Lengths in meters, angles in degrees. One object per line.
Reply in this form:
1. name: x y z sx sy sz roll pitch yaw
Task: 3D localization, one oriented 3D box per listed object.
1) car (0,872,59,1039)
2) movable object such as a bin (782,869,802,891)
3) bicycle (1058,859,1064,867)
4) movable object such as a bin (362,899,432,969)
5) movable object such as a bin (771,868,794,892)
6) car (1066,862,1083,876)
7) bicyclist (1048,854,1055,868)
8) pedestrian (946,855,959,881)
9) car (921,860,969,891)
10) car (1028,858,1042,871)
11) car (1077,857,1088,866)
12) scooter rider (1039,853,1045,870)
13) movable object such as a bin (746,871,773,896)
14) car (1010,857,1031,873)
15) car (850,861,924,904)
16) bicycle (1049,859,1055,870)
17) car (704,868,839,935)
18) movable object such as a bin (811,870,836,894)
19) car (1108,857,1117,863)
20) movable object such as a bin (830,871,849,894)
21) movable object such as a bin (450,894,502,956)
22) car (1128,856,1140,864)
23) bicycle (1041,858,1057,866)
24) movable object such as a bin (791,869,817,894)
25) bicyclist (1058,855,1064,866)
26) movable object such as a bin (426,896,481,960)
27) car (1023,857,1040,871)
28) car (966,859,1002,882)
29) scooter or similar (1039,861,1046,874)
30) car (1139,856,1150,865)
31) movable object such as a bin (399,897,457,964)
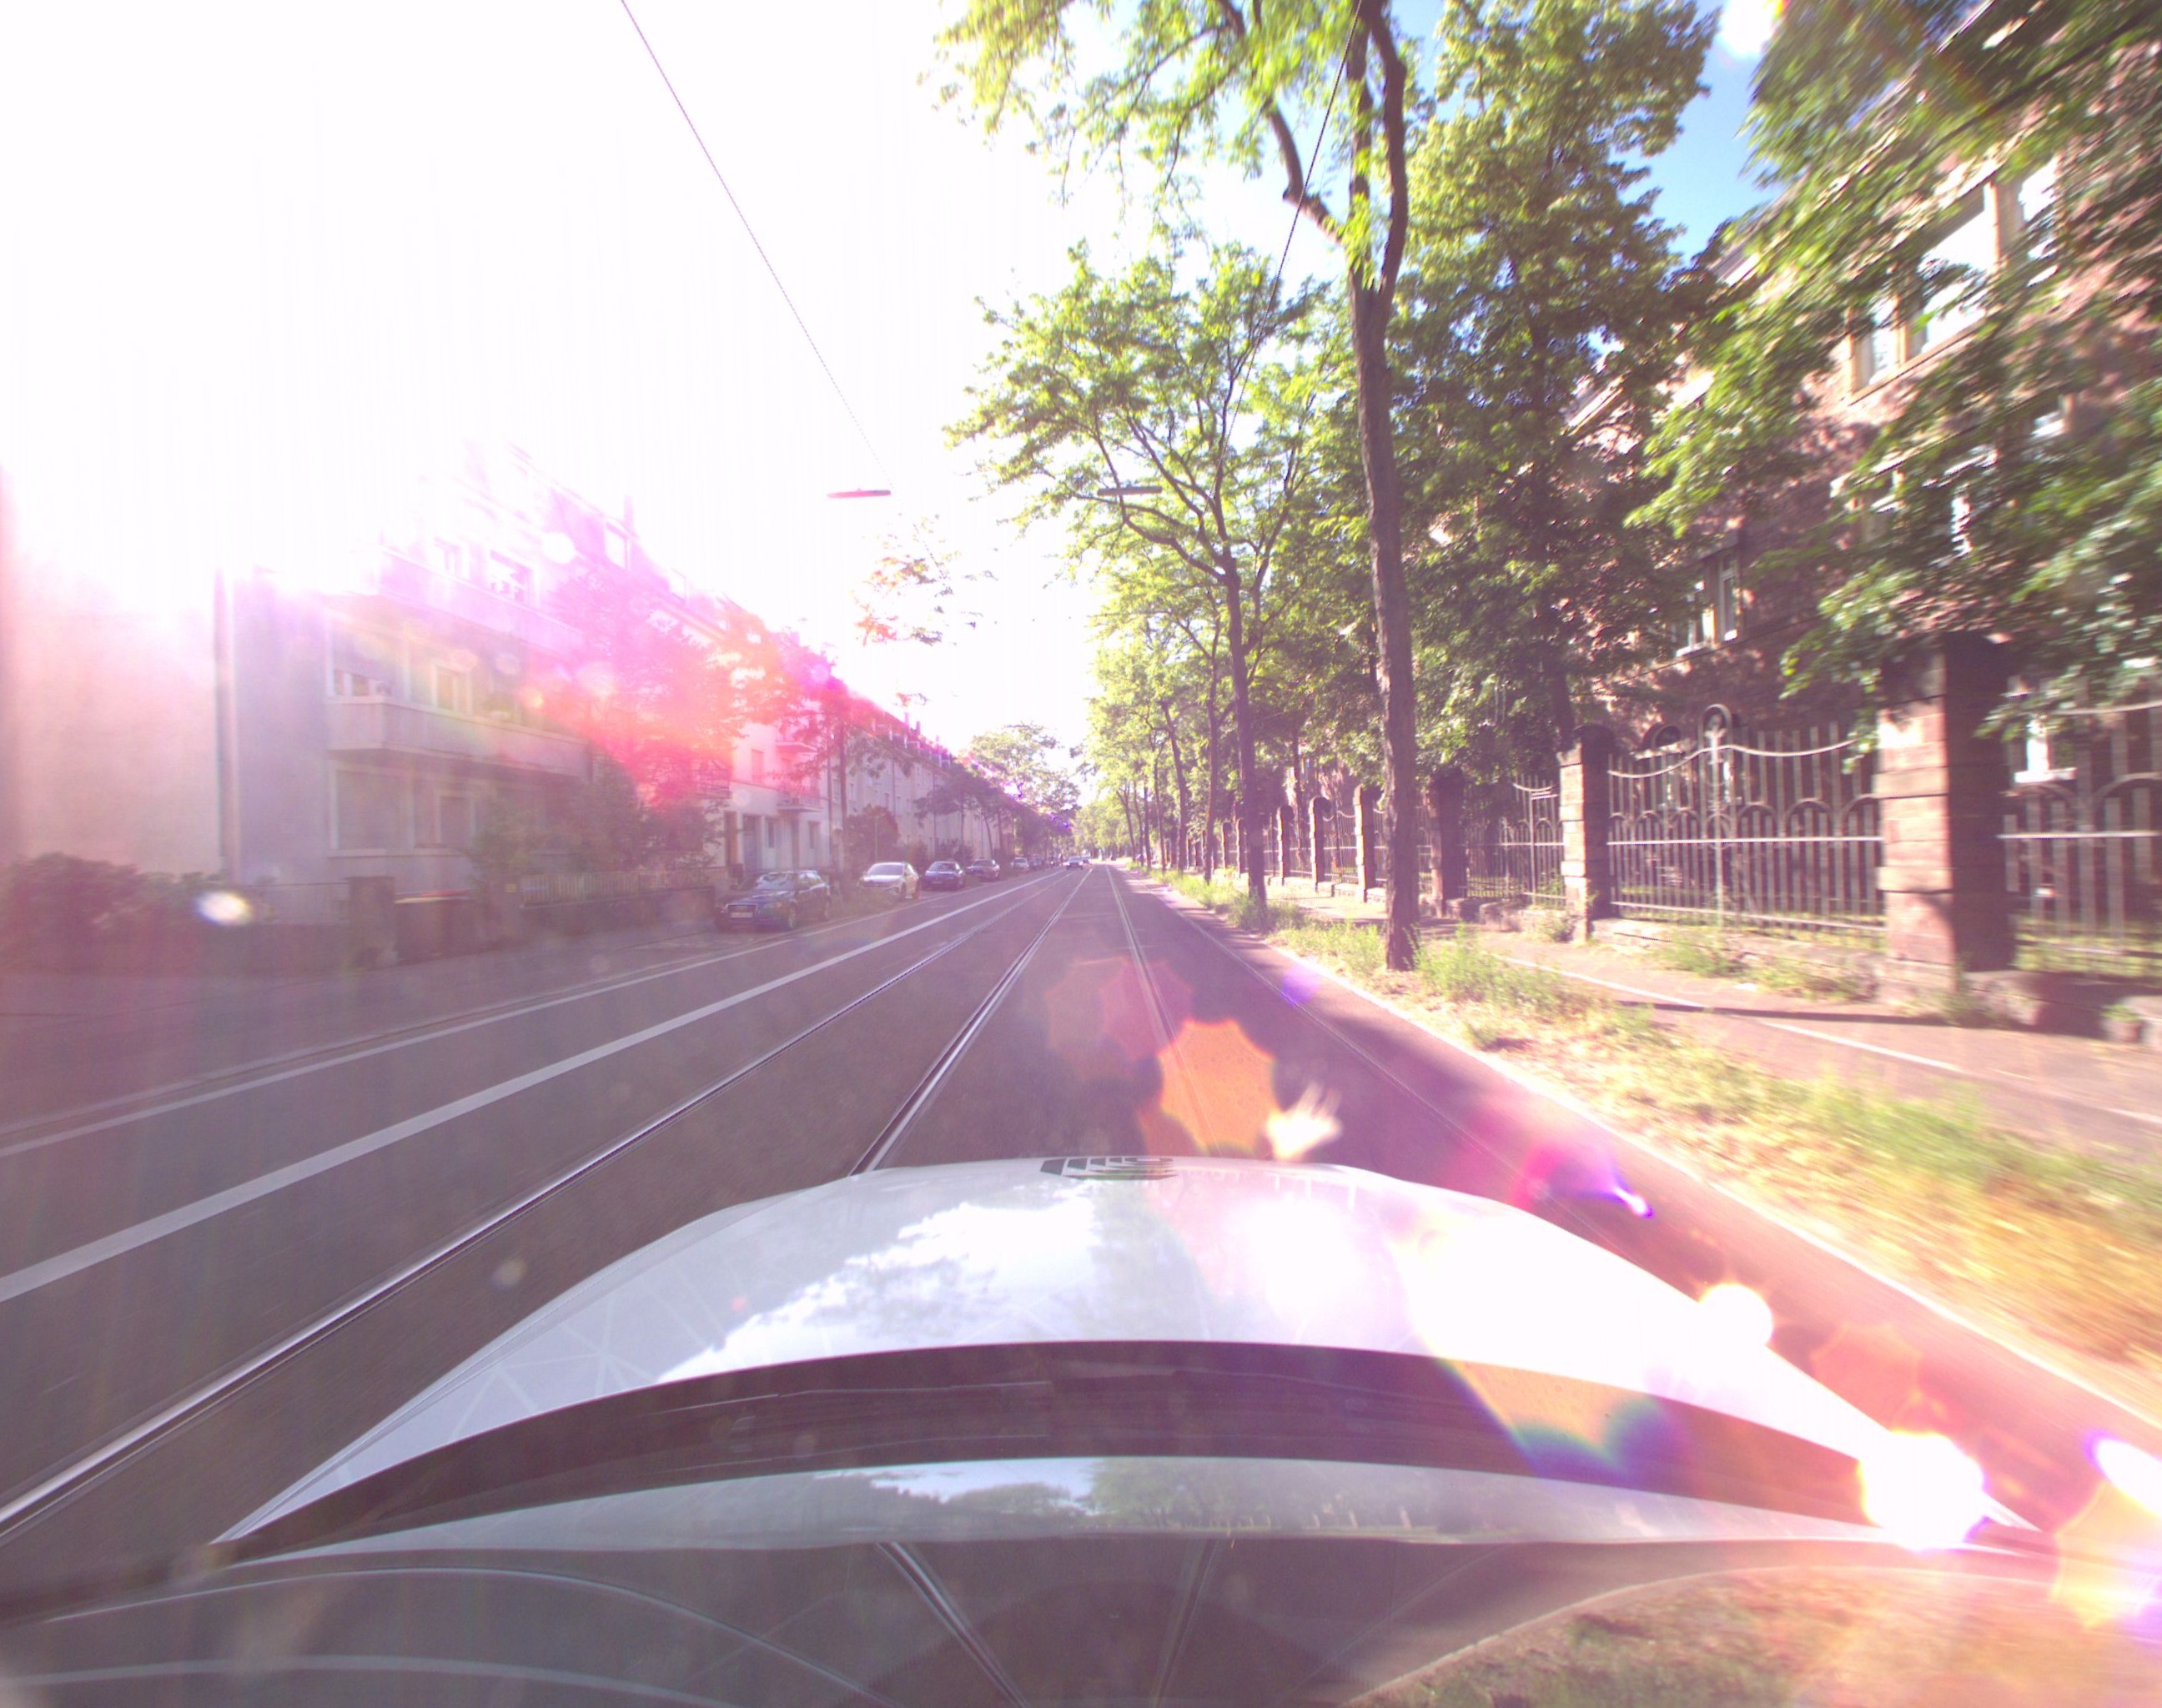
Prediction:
1. car: -12.838 1.037 7.553 4.153 1.659 1.983 -1 0 -1
2. movable object such as a bin: -13.041 1.178 36.748 0.557 0.975 0.733 0 0 4
3. bicycle: -3.009 1.399 123.575 0.692 1.177 1.913 -4 0 1
4. movable object such as a bin: -11.108 1.283 13.249 0.539 1.066 0.670 -2 0 1
5. movable object such as a bin: -13.096 1.143 35.725 0.704 1.046 0.733 0 0 4
6. car: -0.648 1.602 88.881 1.752 1.439 4.523 -1 0 0
7. bicyclist: -3.586 0.816 99.695 0.624 1.639 0.940 -4 0 1
8. pedestrian: -9.041 0.992 57.218 0.689 1.801 0.813 -2 0 1
9. car: -7.021 1.085 42.460 1.752 1.511 4.438 0 0 0
10. car: -5.581 1.246 99.692 1.555 1.457 3.929 1 0 -1
11. car: 0.280 1.198 135.955 1.694 1.439 4.071 -1 0 0
12. scooter rider: -4.097 0.798 85.827 0.495 1.699 0.787 -5 0 1
13. movable object such as a bin: -14.011 1.271 35.556 0.841 1.046 0.733 0 0 4
14. car: -6.025 1.053 81.456 1.696 1.485 4.080 1 0 1
15. car: -7.492 1.054 31.844 1.811 1.511 4.371 0 0 0
16. bicycle: -3.546 1.273 99.787 0.624 1.177 1.913 -4 0 1
17. car: -7.617 1.109 20.505 1.700 1.406 4.334 0 0 0
18. movable object such as a bin: -11.336 1.227 35.869 0.841 1.046 0.733 0 0 4
19. car: 8.534 1.679 220.637 1.939 1.610 3.994 -1 0 -4
20. movable object such as a bin: -10.619 1.253 35.826 0.557 0.975 0.733 0 0 4
21. movable object such as a bin: -11.054 1.291 14.888 0.535 1.066 0.510 -2 0 1
22. car: 10.993 1.209 168.911 1.939 1.610 3.994 -1 0 -4
23. bicycle: -4.670 1.177 118.624 2.272 1.198 0.561 1 1 8
24. movable object such as a bin: -12.197 1.216 35.916 0.841 1.046 0.733 0 0 4
25. bicyclist: -3.038 1.045 123.501 0.707 1.607 0.865 -4 0 1
26. movable object such as a bin: -11.071 1.302 14.373 0.545 1.066 0.510 -2 0 1
27. car: -5.446 1.068 90.081 1.681 1.485 3.760 1 0 0
28. car: -6.551 1.092 55.380 1.810 1.485 4.207 0 0 1
29. scooter or similar: -4.049 1.398 85.790 0.518 1.297 1.378 -5 0 1
30. car: 12.214 1.302 157.142 1.833 1.655 3.578 -1 0 -1
31. movable object such as a bin: -11.093 1.289 13.849 0.545 1.066 0.510 -2 0 1
